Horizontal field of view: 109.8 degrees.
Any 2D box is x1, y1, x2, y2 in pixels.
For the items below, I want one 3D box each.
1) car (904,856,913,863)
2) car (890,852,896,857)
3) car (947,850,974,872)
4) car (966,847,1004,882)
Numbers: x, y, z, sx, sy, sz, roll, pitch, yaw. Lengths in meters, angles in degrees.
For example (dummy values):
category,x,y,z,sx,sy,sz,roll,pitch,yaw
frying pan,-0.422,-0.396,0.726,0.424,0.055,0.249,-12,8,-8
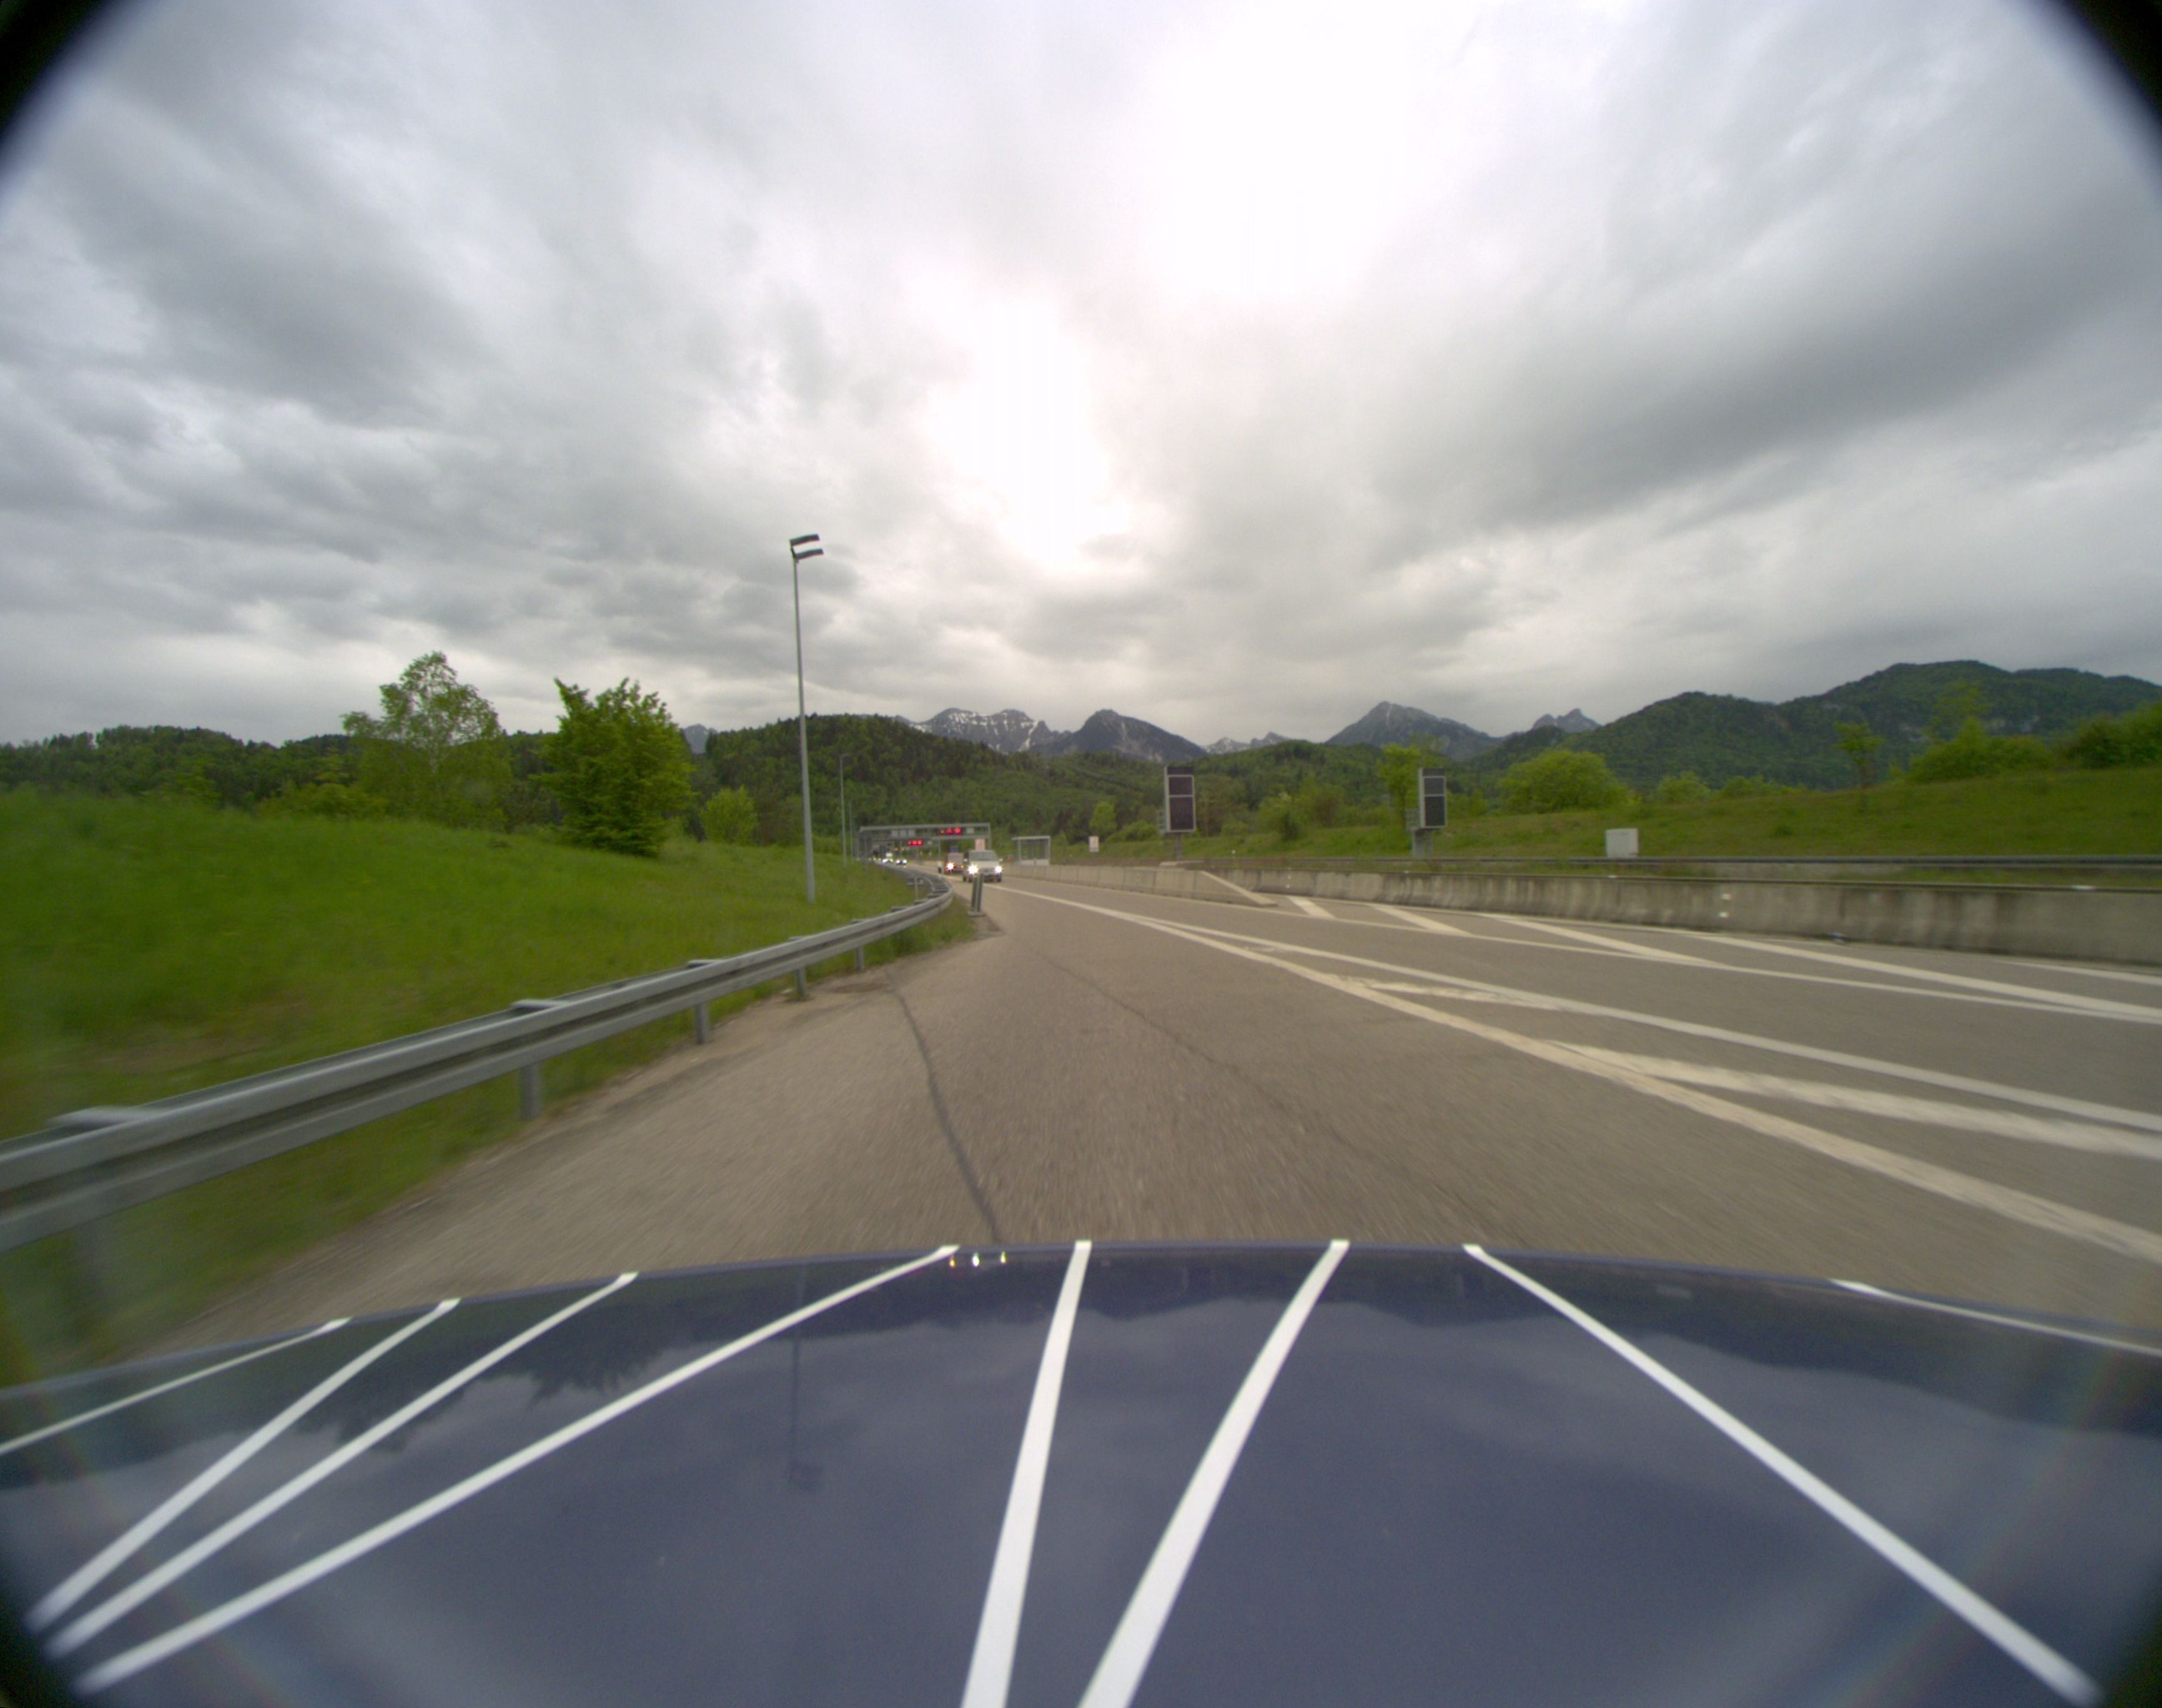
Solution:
category,x,y,z,sx,sy,sz,roll,pitch,yaw
car,-36.259,1.103,159.238,1.666,1.329,3.787,0,0,-15
car,-58.289,0.172,235.303,1.632,1.688,3.492,0,0,-12
car,-10.181,0.603,64.035,1.758,1.794,3.995,-1,0,-15
car,-5.733,0.561,44.787,1.924,1.871,5.133,-1,1,-10
